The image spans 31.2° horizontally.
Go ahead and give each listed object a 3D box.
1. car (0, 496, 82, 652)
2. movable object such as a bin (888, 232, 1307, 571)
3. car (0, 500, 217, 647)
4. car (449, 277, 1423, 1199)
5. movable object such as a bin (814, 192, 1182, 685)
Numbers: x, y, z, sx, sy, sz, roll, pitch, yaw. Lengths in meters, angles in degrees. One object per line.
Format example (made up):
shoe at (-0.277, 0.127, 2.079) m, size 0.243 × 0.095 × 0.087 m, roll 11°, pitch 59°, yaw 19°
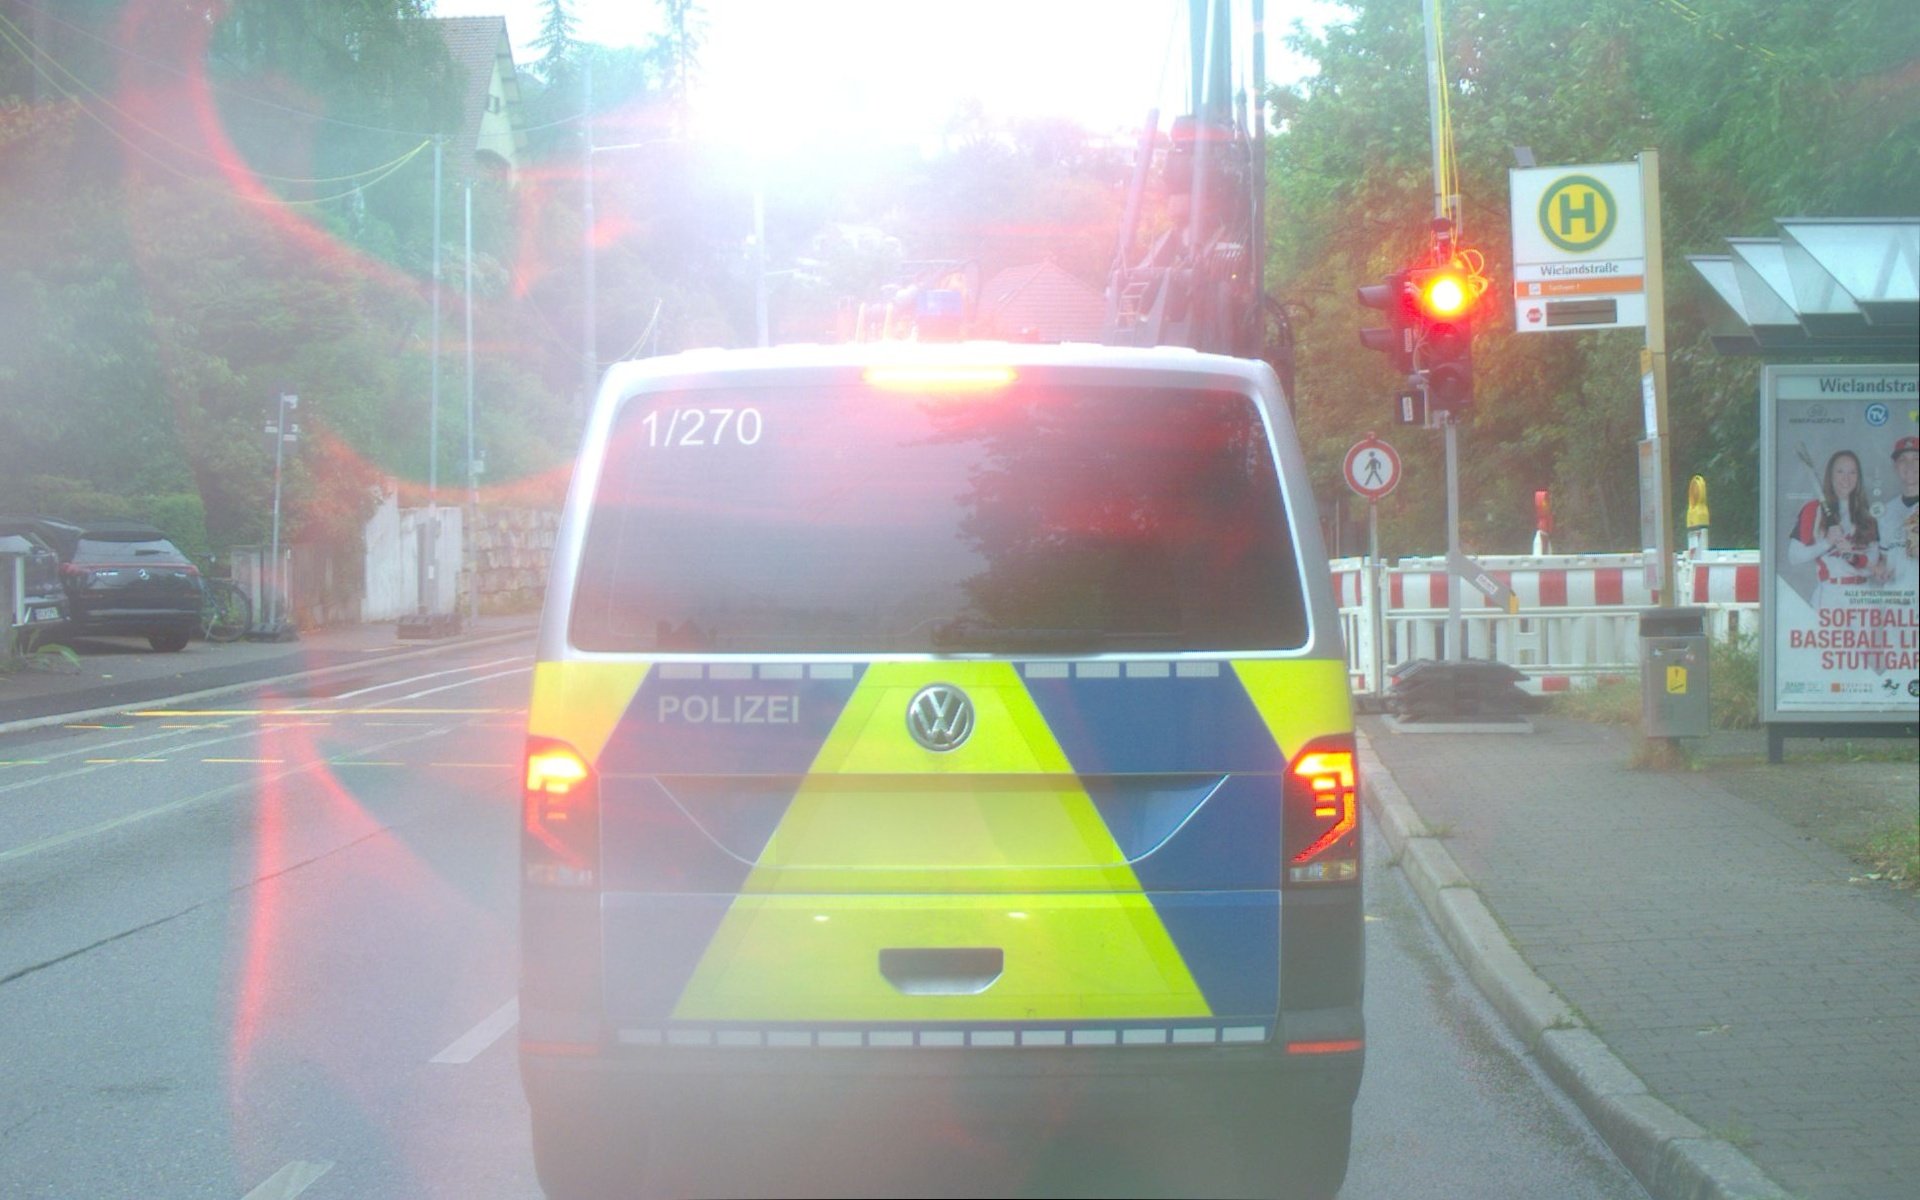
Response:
car at (-11.181, -0.289, 34.785) m, size 3.989 × 1.520 × 1.940 m, roll 1°, pitch 1°, yaw 13°
movable object such as a bin at (2.365, -3.064, 55.845) m, size 3.689 × 5.049 × 7.150 m, roll -1°, pitch 0°, yaw 32°
car at (-9.919, -0.318, 37.824) m, size 1.781 × 1.520 × 3.999 m, roll 0°, pitch 1°, yaw -39°
car at (-0.074, 0.353, 9.039) m, size 1.908 × 2.003 × 4.440 m, roll 1°, pitch 1°, yaw -1°
movable object such as a bin at (0.466, -1.450, 31.664) m, size 2.879 × 4.156 × 4.486 m, roll -1°, pitch 2°, yaw 6°
